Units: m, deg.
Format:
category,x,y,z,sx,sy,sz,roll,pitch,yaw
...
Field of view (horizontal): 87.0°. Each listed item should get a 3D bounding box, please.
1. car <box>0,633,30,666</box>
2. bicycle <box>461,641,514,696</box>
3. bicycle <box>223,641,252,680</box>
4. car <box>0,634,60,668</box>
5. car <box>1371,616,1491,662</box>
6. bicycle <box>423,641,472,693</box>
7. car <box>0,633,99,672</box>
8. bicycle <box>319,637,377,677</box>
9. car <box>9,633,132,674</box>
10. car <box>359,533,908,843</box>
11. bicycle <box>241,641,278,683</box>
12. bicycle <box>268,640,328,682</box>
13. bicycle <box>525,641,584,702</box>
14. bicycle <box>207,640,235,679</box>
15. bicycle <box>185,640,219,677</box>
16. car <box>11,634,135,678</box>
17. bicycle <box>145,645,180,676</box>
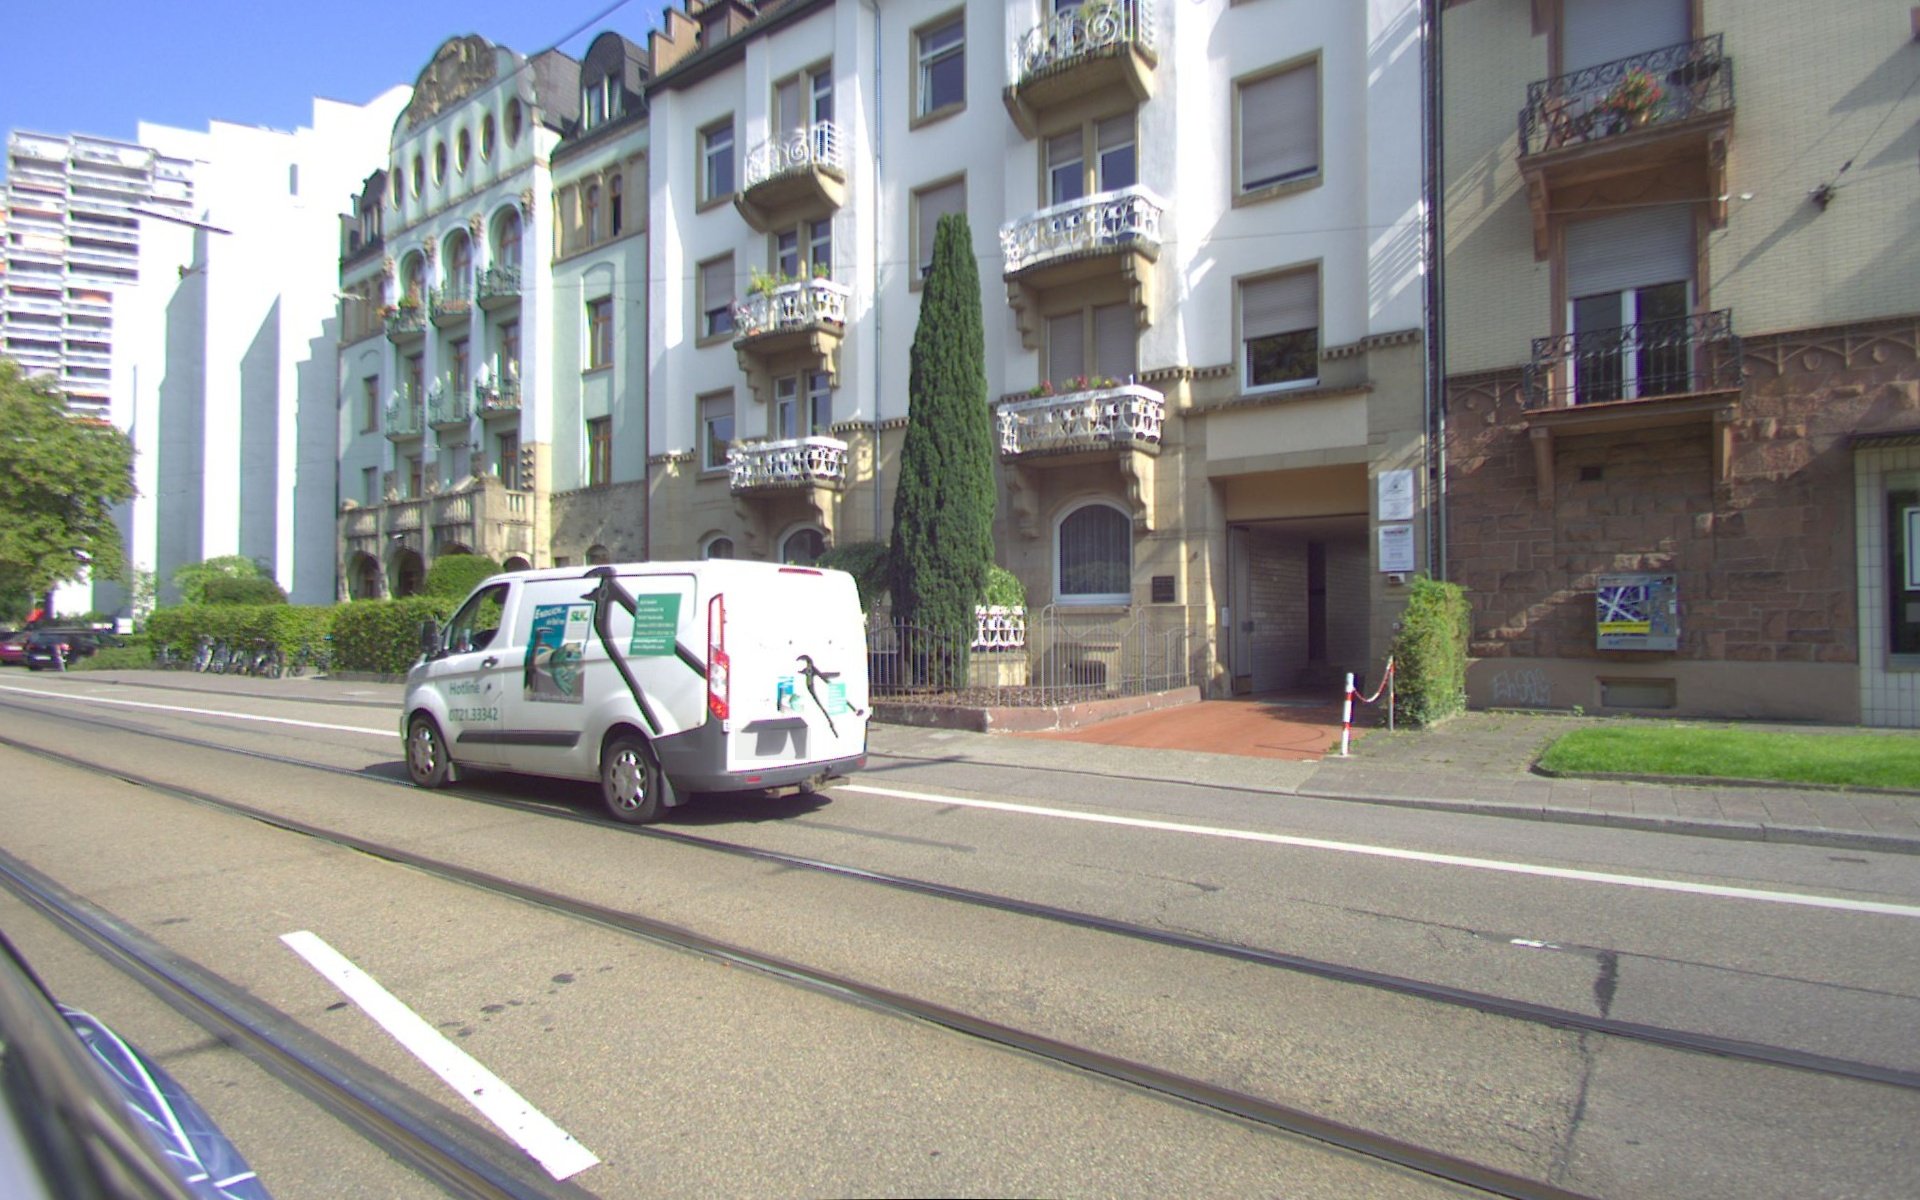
category,x,y,z,sx,sy,sz,roll,pitch,yaw
car,-46.419,2.350,47.892,1.743,1.539,4.010,0,-2,-12
bicycle,-9.691,1.383,20.747,1.352,1.096,0.367,-2,-2,36
bicycle,-20.764,1.720,29.073,0.419,1.096,1.677,1,-3,-44
car,-43.813,2.323,46.627,1.743,1.539,4.010,0,-2,-12
car,16.508,1.336,35.473,3.931,1.539,1.778,1,-2,-28
bicycle,-11.071,1.433,21.853,1.352,1.096,0.367,-2,-2,36
car,-37.982,2.148,41.981,1.743,1.539,4.010,0,-2,-12
bicycle,-17.433,1.618,28.836,0.425,1.096,1.339,-2,-2,35
car,-35.515,2.088,40.546,1.744,1.539,4.006,0,-2,-8
car,-2.978,0.671,8.837,4.846,2.029,1.977,-2,-4,34
bicycle,-19.183,1.686,27.691,1.675,1.096,0.420,-2,-2,41
bicycle,-18.020,1.644,27.580,0.422,1.096,1.387,-1,-2,19
bicycle,-7.594,1.324,18.952,1.352,1.096,0.367,-2,-2,36
bicycle,-21.498,1.724,29.440,0.419,1.096,1.677,1,-3,-44
bicycle,-23.027,1.768,30.748,1.674,1.096,0.420,-2,-2,39
car,-32.907,2.030,37.711,1.743,1.539,4.010,0,-2,-12
bicycle,-25.749,1.935,32.656,1.766,0.985,0.420,-2,-2,36
